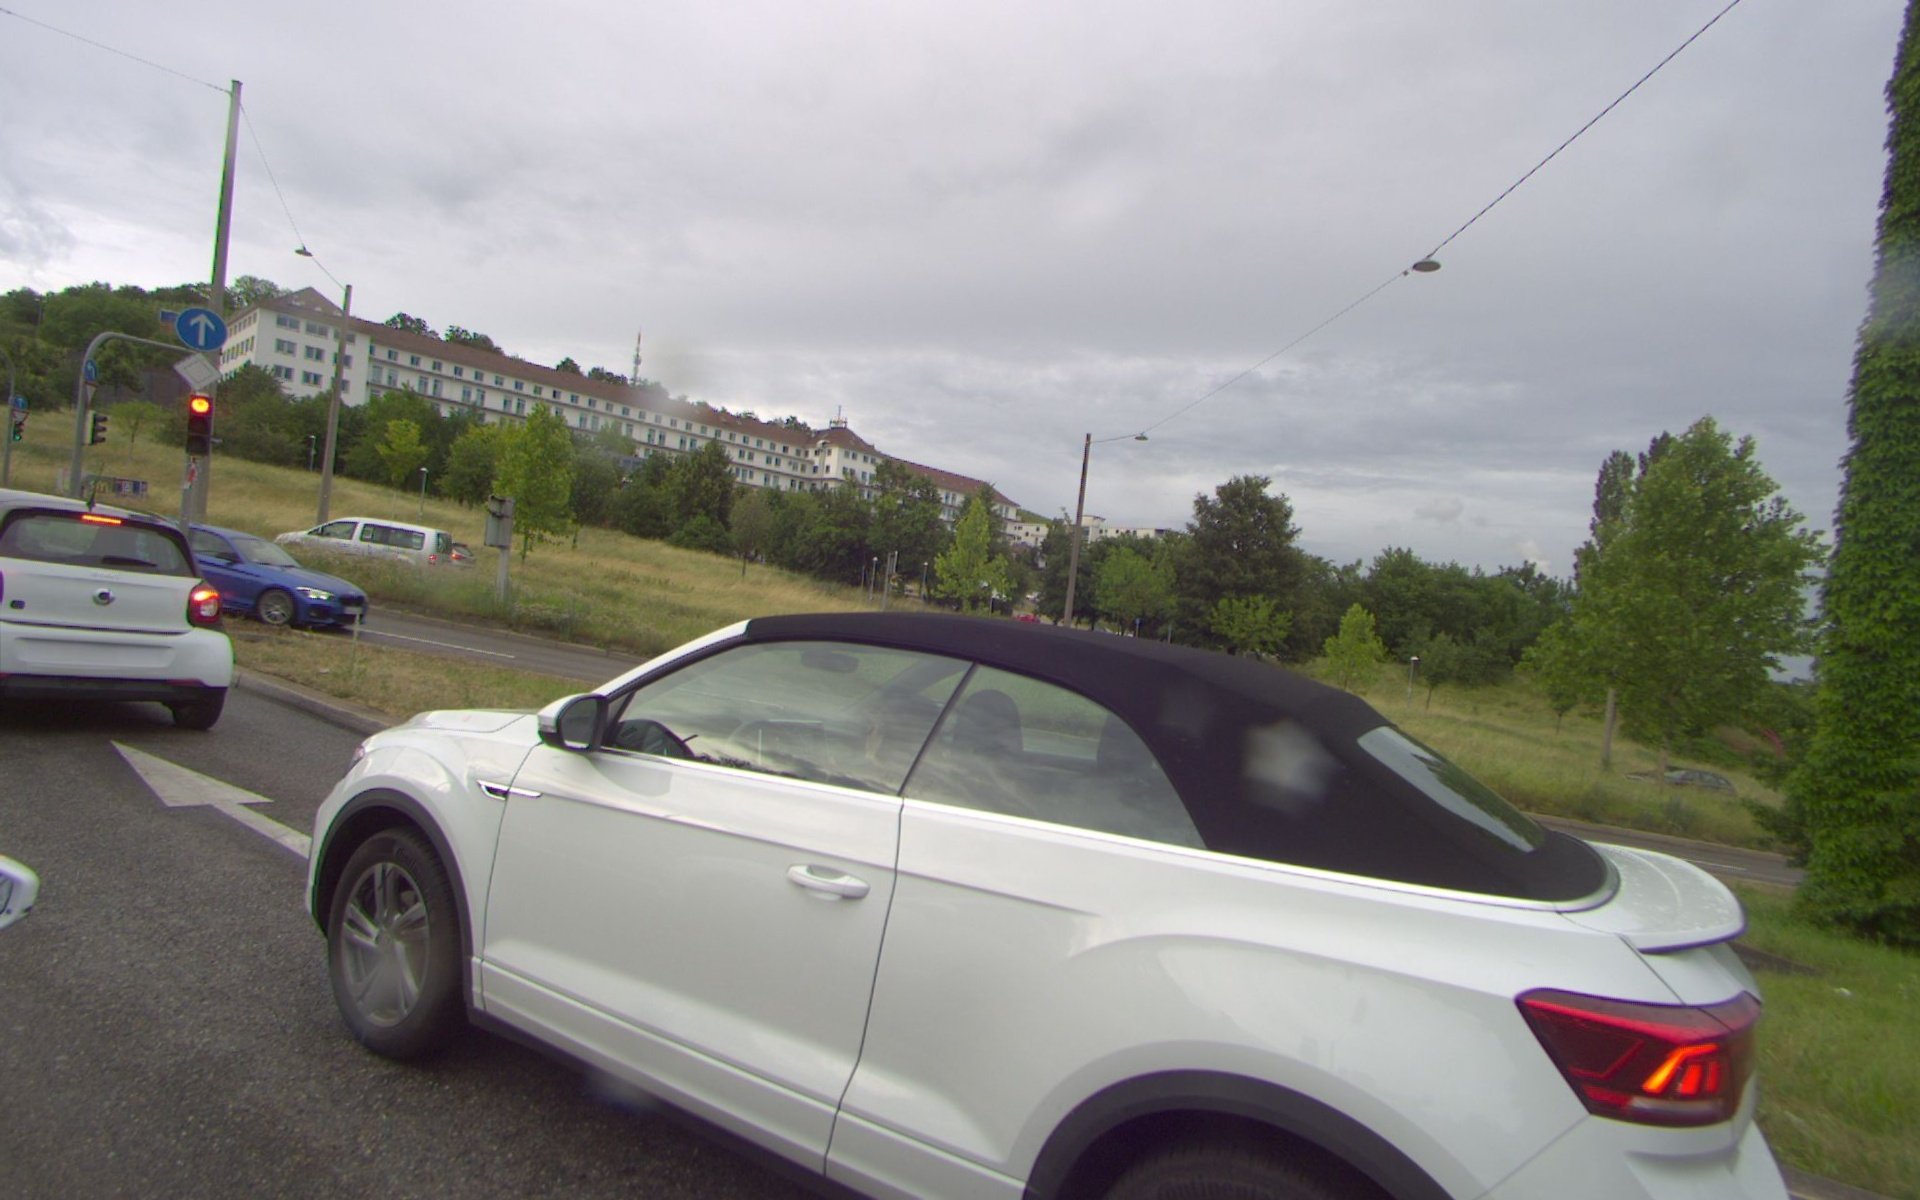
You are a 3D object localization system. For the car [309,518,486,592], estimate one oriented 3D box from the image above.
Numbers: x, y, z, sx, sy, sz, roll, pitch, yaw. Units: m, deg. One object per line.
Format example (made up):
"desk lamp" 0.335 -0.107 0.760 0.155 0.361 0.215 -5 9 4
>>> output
"car" -18.192 -1.414 32.742 4.448 1.639 1.998 8 -2 -9

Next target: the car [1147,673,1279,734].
"car" 9.643 3.949 38.559 4.342 1.655 2.000 8 -2 -4

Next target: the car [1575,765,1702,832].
"car" 28.345 8.298 42.108 3.931 2.037 1.999 8 -2 -8

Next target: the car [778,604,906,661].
"car" -4.281 1.207 37.146 4.421 1.494 2.000 8 -2 -3

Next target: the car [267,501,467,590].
"car" -17.585 -1.583 30.026 4.618 1.871 1.820 8 -2 -8

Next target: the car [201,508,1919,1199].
"car" -0.183 0.759 3.035 4.157 1.571 1.717 6 -2 29

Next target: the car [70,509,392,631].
"car" -12.464 -0.469 17.381 4.212 1.492 1.702 7 -2 2

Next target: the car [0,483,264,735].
"car" -6.876 -0.025 7.507 3.398 1.520 1.659 6 -2 37
